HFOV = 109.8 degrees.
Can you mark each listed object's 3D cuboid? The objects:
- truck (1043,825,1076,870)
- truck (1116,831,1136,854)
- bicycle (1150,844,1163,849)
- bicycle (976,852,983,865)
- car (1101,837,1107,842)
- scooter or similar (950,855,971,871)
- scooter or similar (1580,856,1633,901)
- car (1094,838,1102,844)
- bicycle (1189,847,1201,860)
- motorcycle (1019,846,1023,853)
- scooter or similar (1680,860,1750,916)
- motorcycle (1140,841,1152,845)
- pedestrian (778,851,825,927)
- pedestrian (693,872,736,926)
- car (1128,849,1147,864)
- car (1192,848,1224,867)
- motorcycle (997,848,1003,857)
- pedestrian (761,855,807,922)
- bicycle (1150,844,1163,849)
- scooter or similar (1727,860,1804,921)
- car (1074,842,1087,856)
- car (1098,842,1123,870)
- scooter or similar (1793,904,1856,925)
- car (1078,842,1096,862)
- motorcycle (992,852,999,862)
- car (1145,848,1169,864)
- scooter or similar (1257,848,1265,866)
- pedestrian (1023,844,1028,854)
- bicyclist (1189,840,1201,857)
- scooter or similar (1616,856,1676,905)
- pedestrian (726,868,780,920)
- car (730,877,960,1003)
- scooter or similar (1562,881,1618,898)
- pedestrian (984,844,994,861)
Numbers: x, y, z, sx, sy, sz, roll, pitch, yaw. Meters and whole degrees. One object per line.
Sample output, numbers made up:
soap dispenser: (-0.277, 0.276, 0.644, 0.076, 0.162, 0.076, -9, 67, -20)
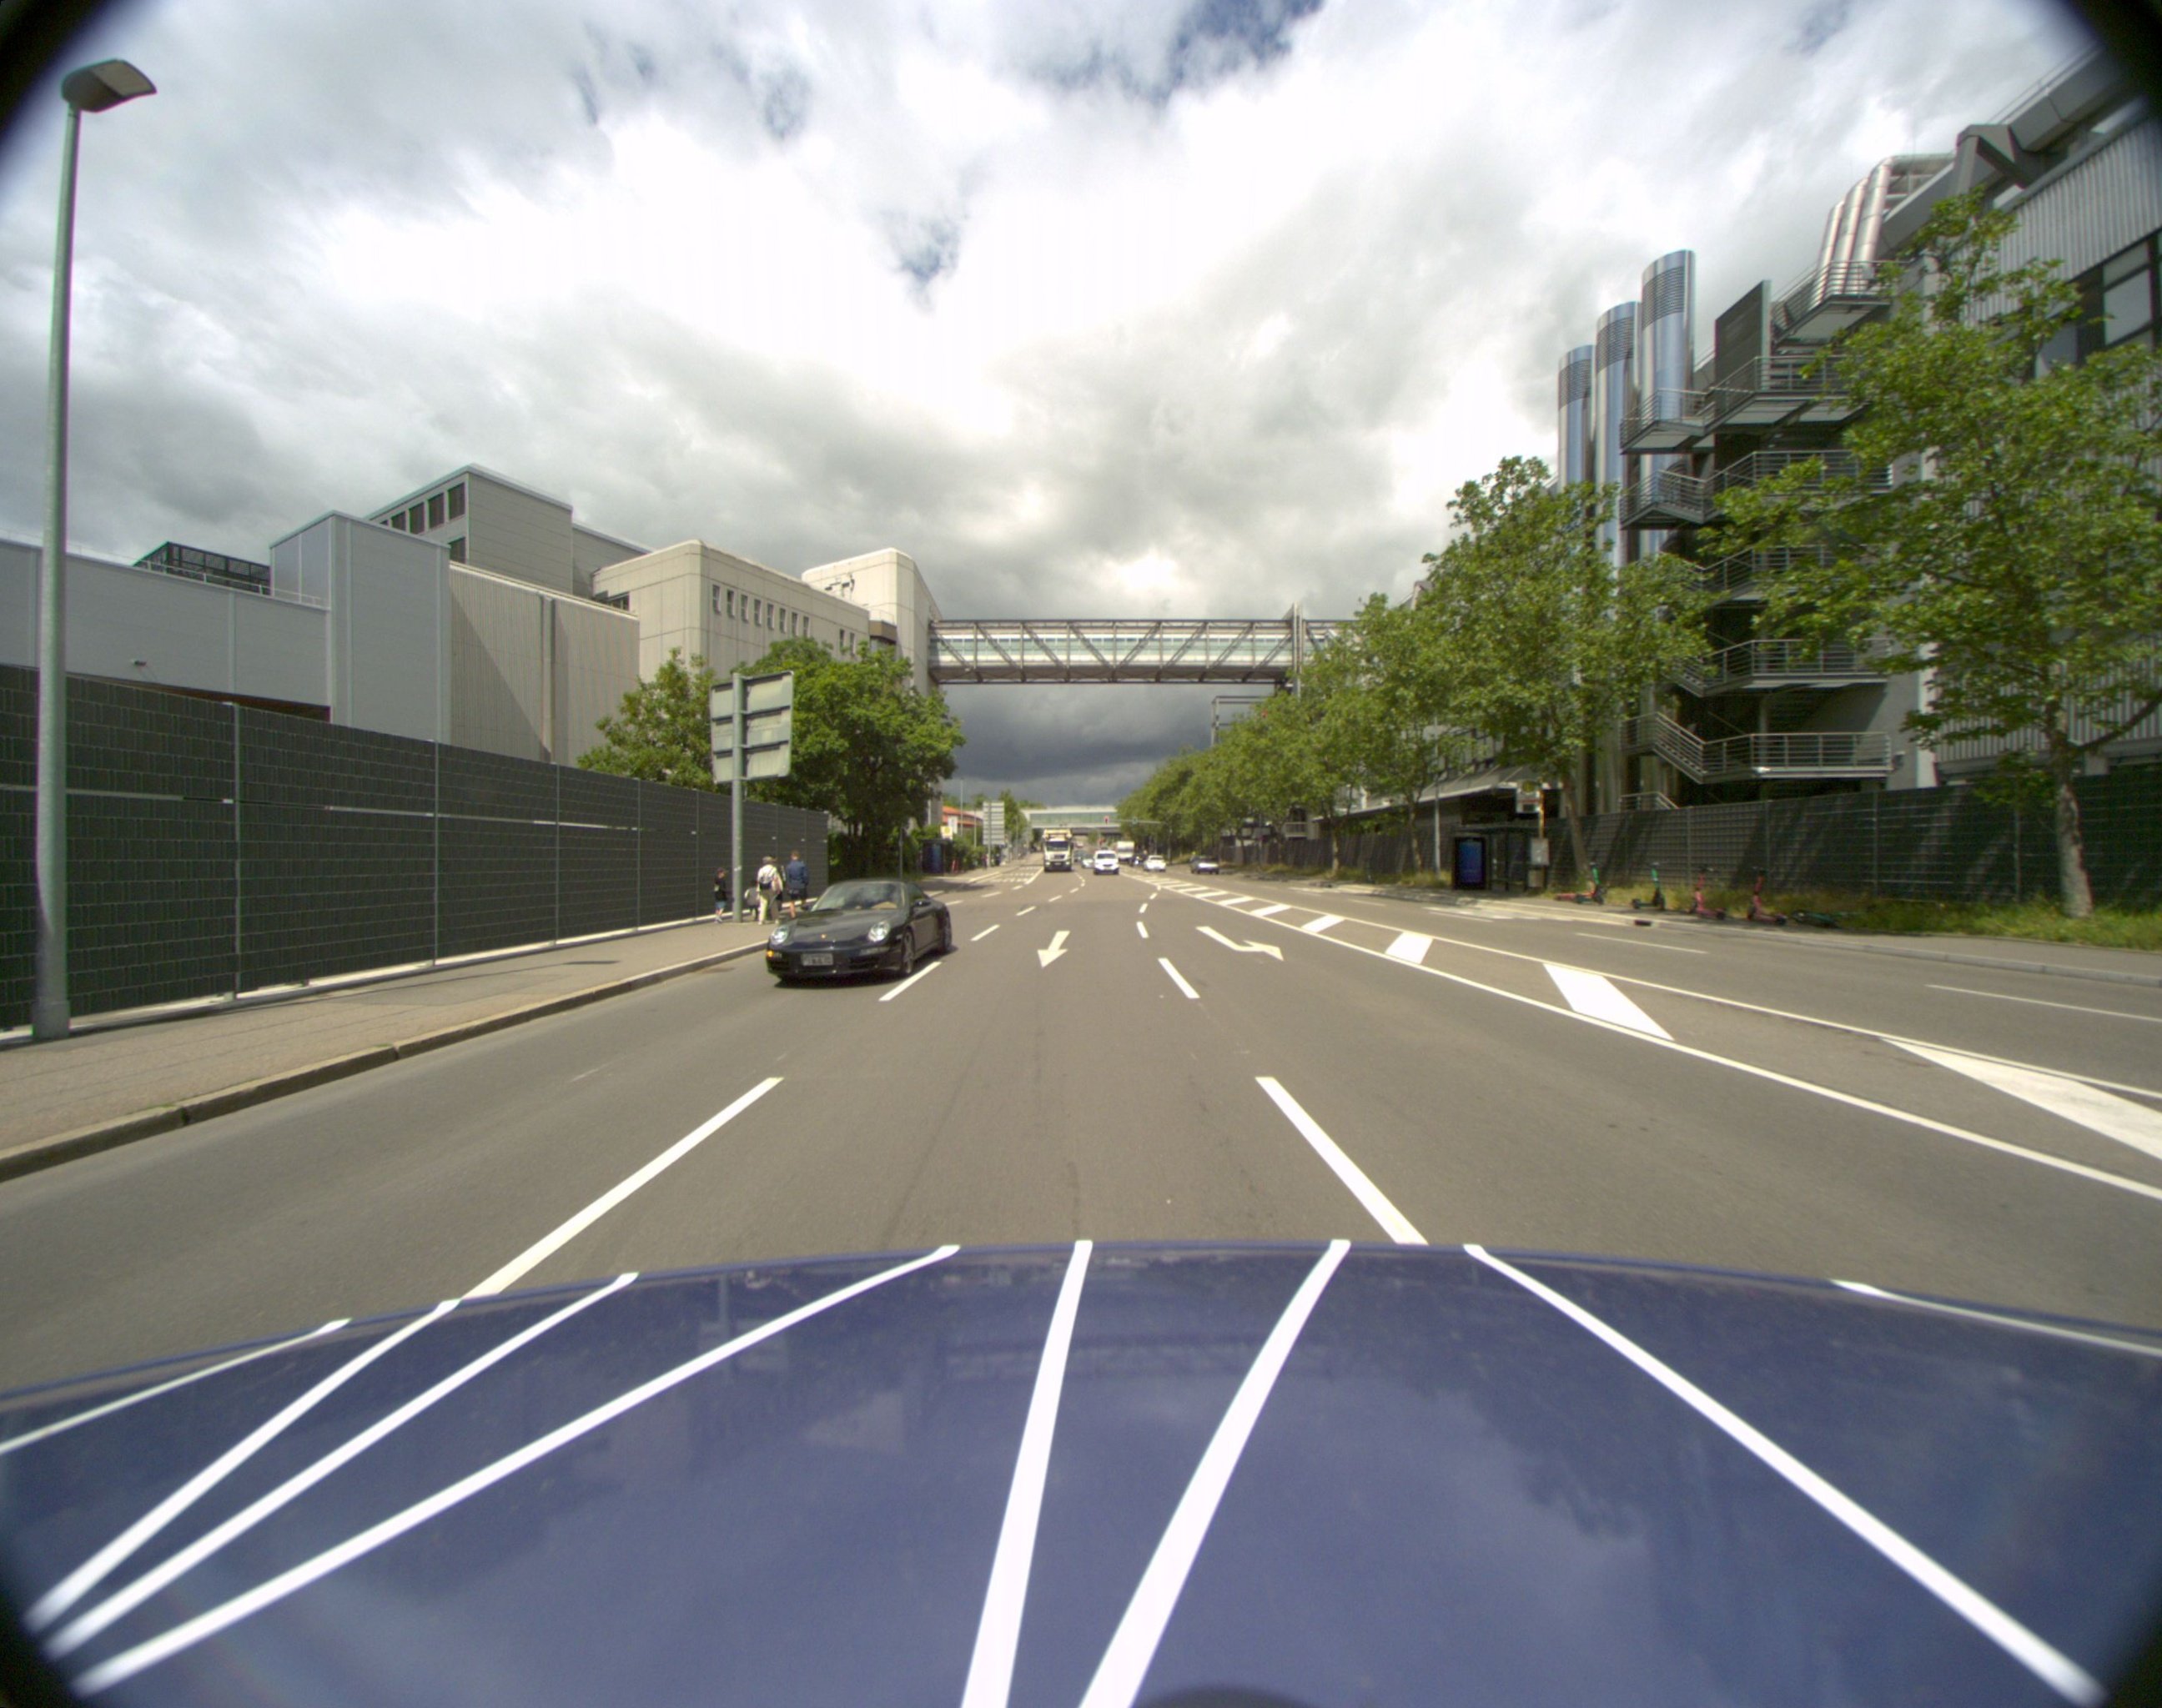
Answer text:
truck: (-1.943, -0.676, 71.192, 2.713, 3.863, 10.737, -2, 1, -1)
truck: (6.465, -1.702, 109.669, 2.458, 3.111, 7.241, -2, 1, 0)
bicycle: (15.037, -1.521, 151.785, 2.561, 1.079, 0.616, -1, 2, 7)
bicycle: (-10.176, 0.441, 76.336, 0.444, 1.173, 2.468, -2, 1, -1)
car: (7.177, -4.504, 235.749, 1.998, 1.446, 4.768, 1, 1, 2)
scooter or similar: (-8.861, 0.675, 56.023, 0.541, 1.156, 1.795, 1, 1, 26)
scooter or similar: (15.057, 0.685, 21.788, 0.524, 1.227, 1.317, -4, 0, -1)
car: (4.589, -3.428, 203.949, 1.889, 1.446, 3.901, 1, 1, -2)
bicycle: (11.421, -0.088, 76.319, 0.738, 1.227, 2.472, 1, 1, -2)
motorcycle: (-10.881, -0.735, 136.877, 0.571, 1.219, 2.175, 1, 1, 0)
scooter or similar: (15.036, 0.781, 18.055, 0.524, 1.227, 1.318, -4, 0, 1)
motorcycle: (15.721, -2.626, 182.799, 2.830, 1.030, 0.600, -2, -1, 3)
pedestrian: (-6.523, 0.804, 17.751, 0.797, 1.711, 0.731, -2, 2, -4)
pedestrian: (-8.510, 1.035, 17.660, 0.598, 1.200, 0.716, -2, 2, 2)
car: (6.523, 0.304, 88.273, 1.744, 1.572, 4.266, 2, 1, 0)
car: (10.521, 0.268, 63.277, 1.883, 1.497, 4.190, 1, 0, -1)
motorcycle: (-9.920, -0.138, 93.162, 0.592, 1.061, 2.036, 1, 1, -1)
pedestrian: (-7.340, 0.849, 18.810, 0.797, 1.588, 0.731, -2, 2, -3)
bicycle: (14.985, -1.487, 150.723, 2.561, 1.079, 0.616, -1, 2, 5)
scooter or similar: (14.983, 0.778, 16.673, 0.524, 1.227, 1.318, -3, 0, 6)
car: (-0.028, -0.728, 114.407, 1.872, 1.945, 4.710, -2, 2, 0)
car: (2.242, 0.190, 58.125, 1.824, 2.001, 4.392, 0, -1, 2)
scooter or similar: (15.513, 1.252, 15.885, 0.538, 0.321, 1.274, -1, 0, 24)
car: (0.654, -0.283, 82.228, 1.872, 1.944, 4.710, -2, 2, 0)
motorcycle: (-9.748, 0.322, 86.875, 0.592, 1.061, 2.036, 1, 1, -1)
car: (6.893, 0.157, 69.306, 1.696, 1.407, 4.144, 1, 1, -1)
scooter or similar: (14.258, 0.227, 60.338, 0.304, 1.395, 1.235, -2, 2, -1)
pedestrian: (-9.884, -0.814, 135.065, 0.729, 1.756, 1.015, -2, 2, -1)
bicyclist: (11.428, -0.562, 76.336, 0.958, 1.589, 1.222, 2, 1, -4)
scooter or similar: (15.043, 0.695, 20.261, 0.524, 1.227, 1.317, -4, 0, -1)
pedestrian: (-7.726, 0.921, 17.936, 0.759, 1.142, 0.971, -2, 2, 3)
car: (-3.135, 1.093, 11.057, 1.838, 1.317, 4.001, -2, 0, 4)
scooter or similar: (15.597, 1.078, 23.290, 1.361, 0.378, 1.493, -4, 0, 35)
pedestrian: (-8.757, -0.128, 72.459, 0.811, 1.635, 0.997, 1, 2, -3)
